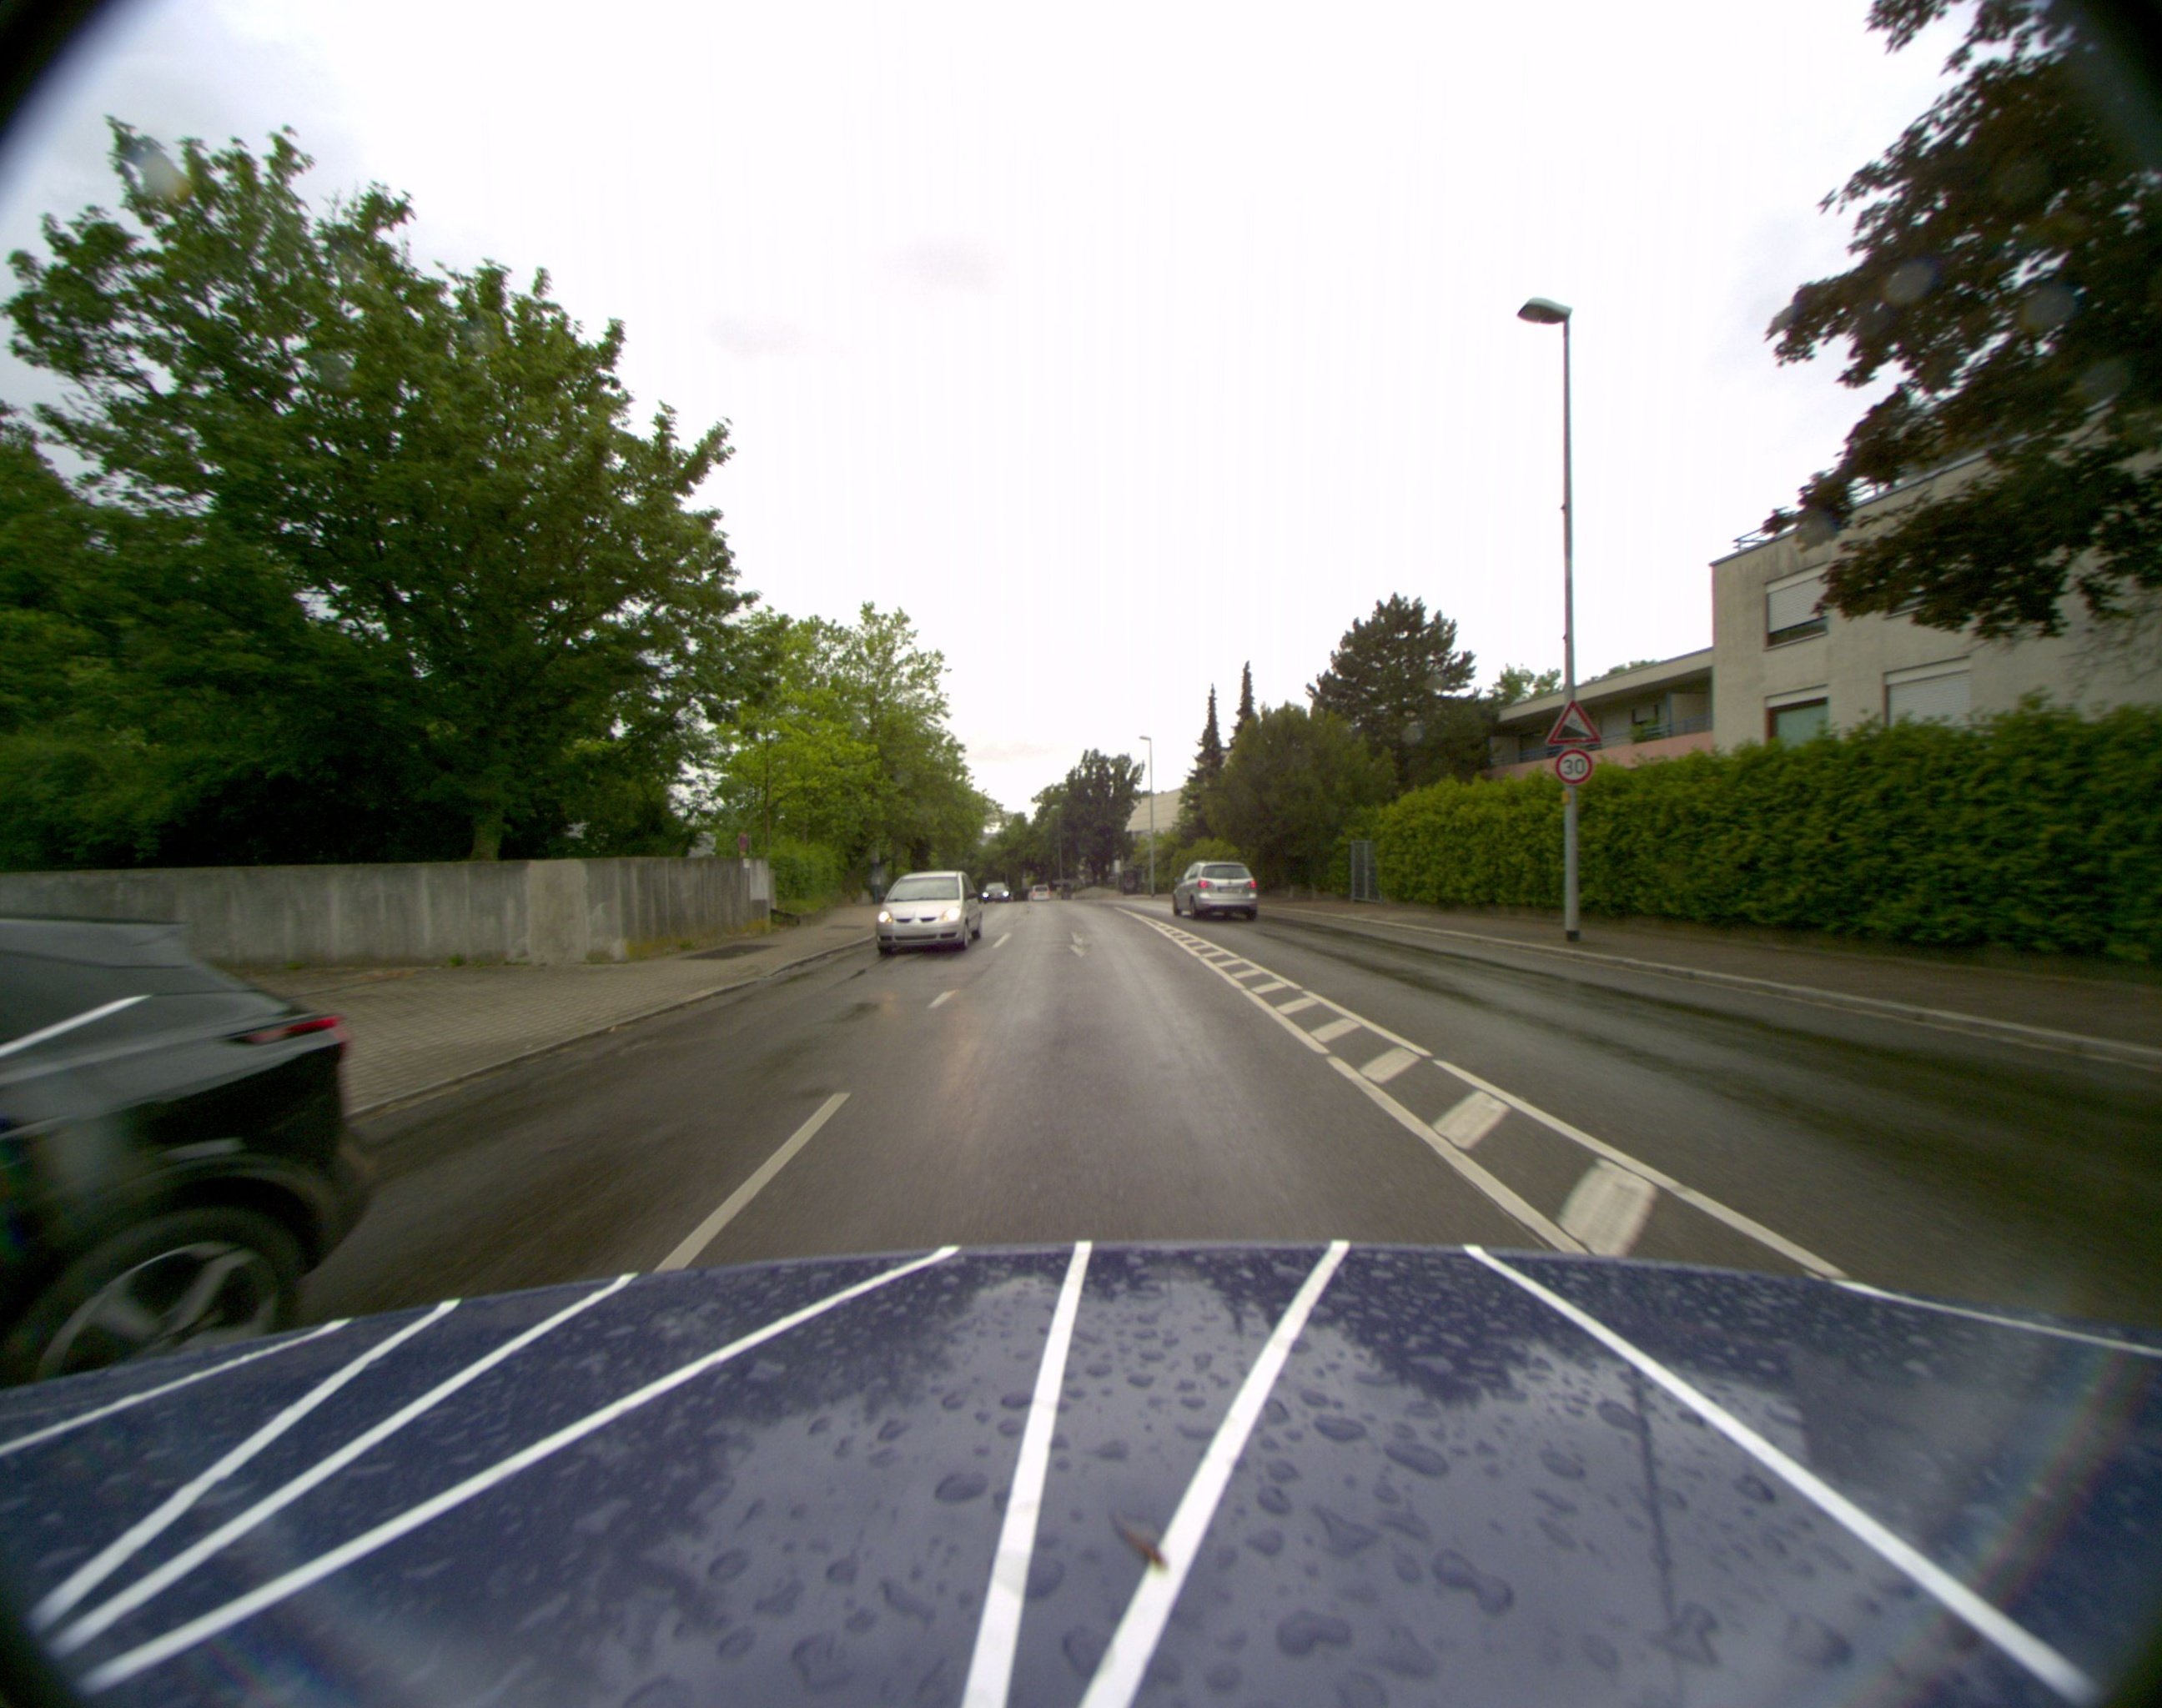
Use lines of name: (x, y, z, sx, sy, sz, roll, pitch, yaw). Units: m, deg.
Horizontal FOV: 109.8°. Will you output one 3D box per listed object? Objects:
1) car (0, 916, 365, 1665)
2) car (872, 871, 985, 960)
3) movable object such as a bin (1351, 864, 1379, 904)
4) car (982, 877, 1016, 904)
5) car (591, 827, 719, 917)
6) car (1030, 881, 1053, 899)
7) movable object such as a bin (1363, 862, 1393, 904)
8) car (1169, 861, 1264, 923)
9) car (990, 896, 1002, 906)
car: (-3.364, 1.032, 0.403, 1.794, 1.594, 4.254, -2, 0, 2)
car: (-3.016, 1.164, 15.776, 1.640, 1.496, 3.999, -3, 0, -2)
movable object such as a bin: (9.658, 1.006, 25.864, 0.549, 1.318, 0.806, -3, -2, -5)
car: (-5.866, 2.641, 54.657, 2.036, 1.690, 4.002, -4, -4, -2)
car: (-11.900, 0.606, 21.549, 2.001, 2.212, 4.132, -2, -4, -12)
car: (-4.409, 4.012, 84.563, 1.870, 1.904, 5.026, 1, -2, -11)
movable object such as a bin: (9.734, 0.944, 24.941, 0.549, 1.318, 0.806, -3, -2, -5)
car: (3.753, 1.015, 21.717, 1.639, 1.570, 4.055, 2, -1, -5)
car: (-13.370, 7.377, 118.975, 1.691, 1.444, 3.397, -2, -3, -9)
